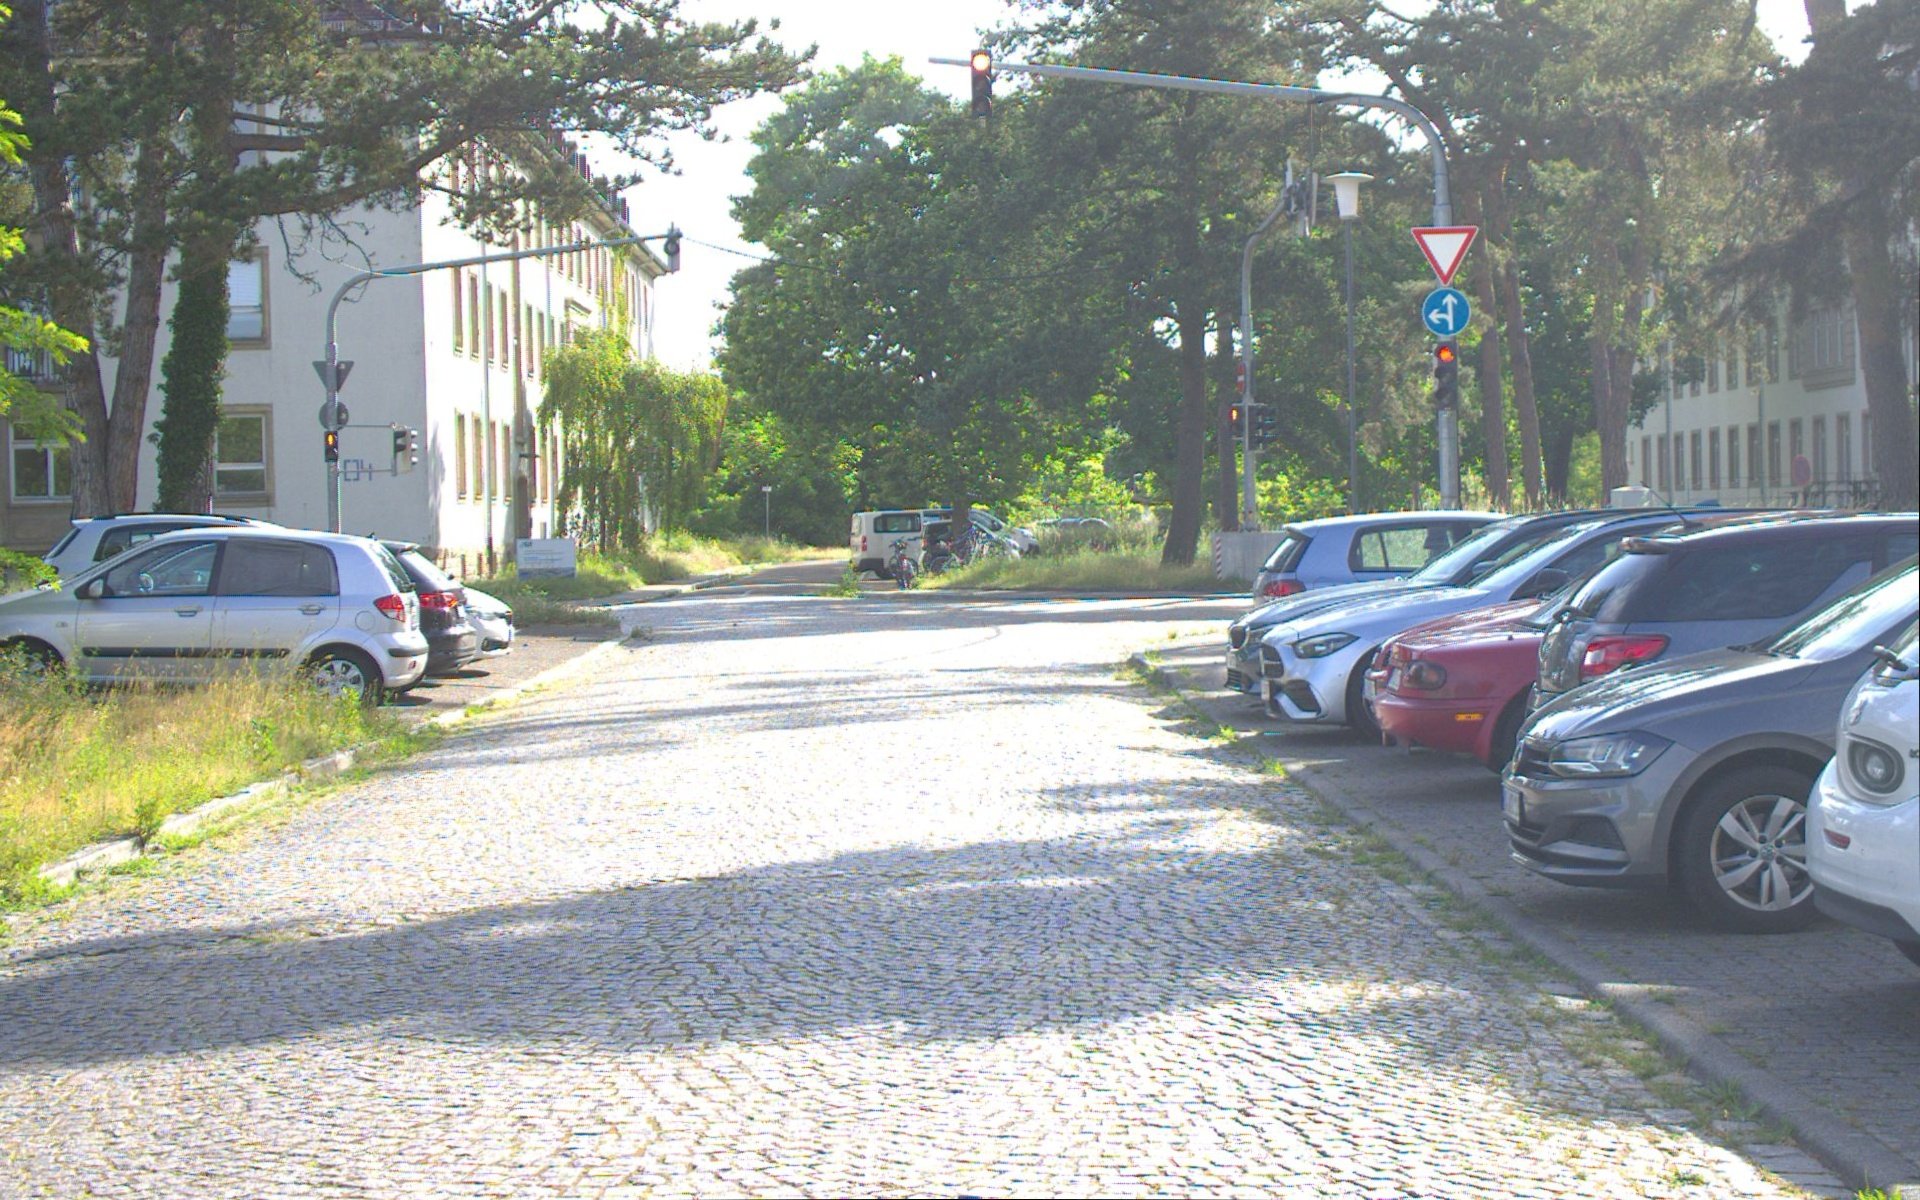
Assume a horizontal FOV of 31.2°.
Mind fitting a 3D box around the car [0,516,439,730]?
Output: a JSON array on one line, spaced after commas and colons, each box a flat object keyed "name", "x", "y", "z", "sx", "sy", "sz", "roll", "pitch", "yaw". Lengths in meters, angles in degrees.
[{"name": "car", "x": -6.330, "y": 0.162, "z": 27.800, "sx": 3.986, "sy": 1.595, "sz": 2.000, "roll": -1, "pitch": 2, "yaw": -3}]

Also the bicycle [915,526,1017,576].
[{"name": "bicycle", "x": 0.134, "y": -1.118, "z": 77.603, "sx": 2.172, "sy": 1.096, "sz": 0.807, "roll": -1, "pitch": 1, "yaw": -10}]

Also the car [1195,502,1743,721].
[{"name": "car", "x": 3.790, "y": 0.057, "z": 25.999, "sx": 3.835, "sy": 1.524, "sz": 1.646, "roll": -1, "pitch": 2, "yaw": -2}]

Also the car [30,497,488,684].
[{"name": "car", "x": -6.702, "y": -0.116, "z": 33.183, "sx": 3.987, "sy": 1.596, "sz": 2.000, "roll": 2, "pitch": 1, "yaw": -1}]

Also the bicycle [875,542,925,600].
[{"name": "bicycle", "x": -1.307, "y": -0.636, "z": 74.143, "sx": 0.804, "sy": 1.165, "sz": 2.181, "roll": -3, "pitch": 2, "yaw": -7}]

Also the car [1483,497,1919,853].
[{"name": "car", "x": 4.331, "y": 0.292, "z": 16.001, "sx": 3.478, "sy": 1.524, "sz": 1.646, "roll": -1, "pitch": 2, "yaw": -2}]

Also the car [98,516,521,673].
[{"name": "car", "x": -6.668, "y": -0.079, "z": 35.586, "sx": 3.987, "sy": 1.448, "sz": 2.000, "roll": 2, "pitch": 2, "yaw": -1}]

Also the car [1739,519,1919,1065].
[{"name": "car", "x": 4.374, "y": 0.427, "z": 10.196, "sx": 3.694, "sy": 1.460, "sz": 1.645, "roll": -3, "pitch": 1, "yaw": 0}]

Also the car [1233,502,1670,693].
[{"name": "car", "x": 4.050, "y": -0.041, "z": 28.640, "sx": 3.343, "sy": 1.477, "sz": 1.646, "roll": -1, "pitch": 2, "yaw": -2}]

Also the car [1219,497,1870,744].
[{"name": "car", "x": 3.887, "y": 0.106, "z": 23.228, "sx": 4.033, "sy": 1.524, "sz": 1.646, "roll": -1, "pitch": 2, "yaw": -4}]

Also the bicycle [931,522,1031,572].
[{"name": "bicycle", "x": 0.487, "y": -1.217, "z": 78.759, "sx": 2.172, "sy": 1.096, "sz": 0.807, "roll": -1, "pitch": 1, "yaw": -10}]

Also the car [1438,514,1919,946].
[{"name": "car", "x": 3.811, "y": 0.409, "z": 13.080, "sx": 3.675, "sy": 1.462, "sz": 1.646, "roll": -2, "pitch": 1, "yaw": -2}]

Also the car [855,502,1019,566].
[{"name": "car", "x": -0.658, "y": -1.833, "z": 95.060, "sx": 4.480, "sy": 1.722, "sz": 2.000, "roll": -1, "pitch": 1, "yaw": -1}]

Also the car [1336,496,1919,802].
[{"name": "car", "x": 3.905, "y": 0.226, "z": 18.690, "sx": 3.478, "sy": 1.524, "sz": 1.646, "roll": -1, "pitch": 2, "yaw": -2}]

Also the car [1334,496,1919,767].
[{"name": "car", "x": 4.211, "y": 0.158, "z": 21.049, "sx": 3.602, "sy": 1.524, "sz": 1.646, "roll": -1, "pitch": 2, "yaw": -2}]
